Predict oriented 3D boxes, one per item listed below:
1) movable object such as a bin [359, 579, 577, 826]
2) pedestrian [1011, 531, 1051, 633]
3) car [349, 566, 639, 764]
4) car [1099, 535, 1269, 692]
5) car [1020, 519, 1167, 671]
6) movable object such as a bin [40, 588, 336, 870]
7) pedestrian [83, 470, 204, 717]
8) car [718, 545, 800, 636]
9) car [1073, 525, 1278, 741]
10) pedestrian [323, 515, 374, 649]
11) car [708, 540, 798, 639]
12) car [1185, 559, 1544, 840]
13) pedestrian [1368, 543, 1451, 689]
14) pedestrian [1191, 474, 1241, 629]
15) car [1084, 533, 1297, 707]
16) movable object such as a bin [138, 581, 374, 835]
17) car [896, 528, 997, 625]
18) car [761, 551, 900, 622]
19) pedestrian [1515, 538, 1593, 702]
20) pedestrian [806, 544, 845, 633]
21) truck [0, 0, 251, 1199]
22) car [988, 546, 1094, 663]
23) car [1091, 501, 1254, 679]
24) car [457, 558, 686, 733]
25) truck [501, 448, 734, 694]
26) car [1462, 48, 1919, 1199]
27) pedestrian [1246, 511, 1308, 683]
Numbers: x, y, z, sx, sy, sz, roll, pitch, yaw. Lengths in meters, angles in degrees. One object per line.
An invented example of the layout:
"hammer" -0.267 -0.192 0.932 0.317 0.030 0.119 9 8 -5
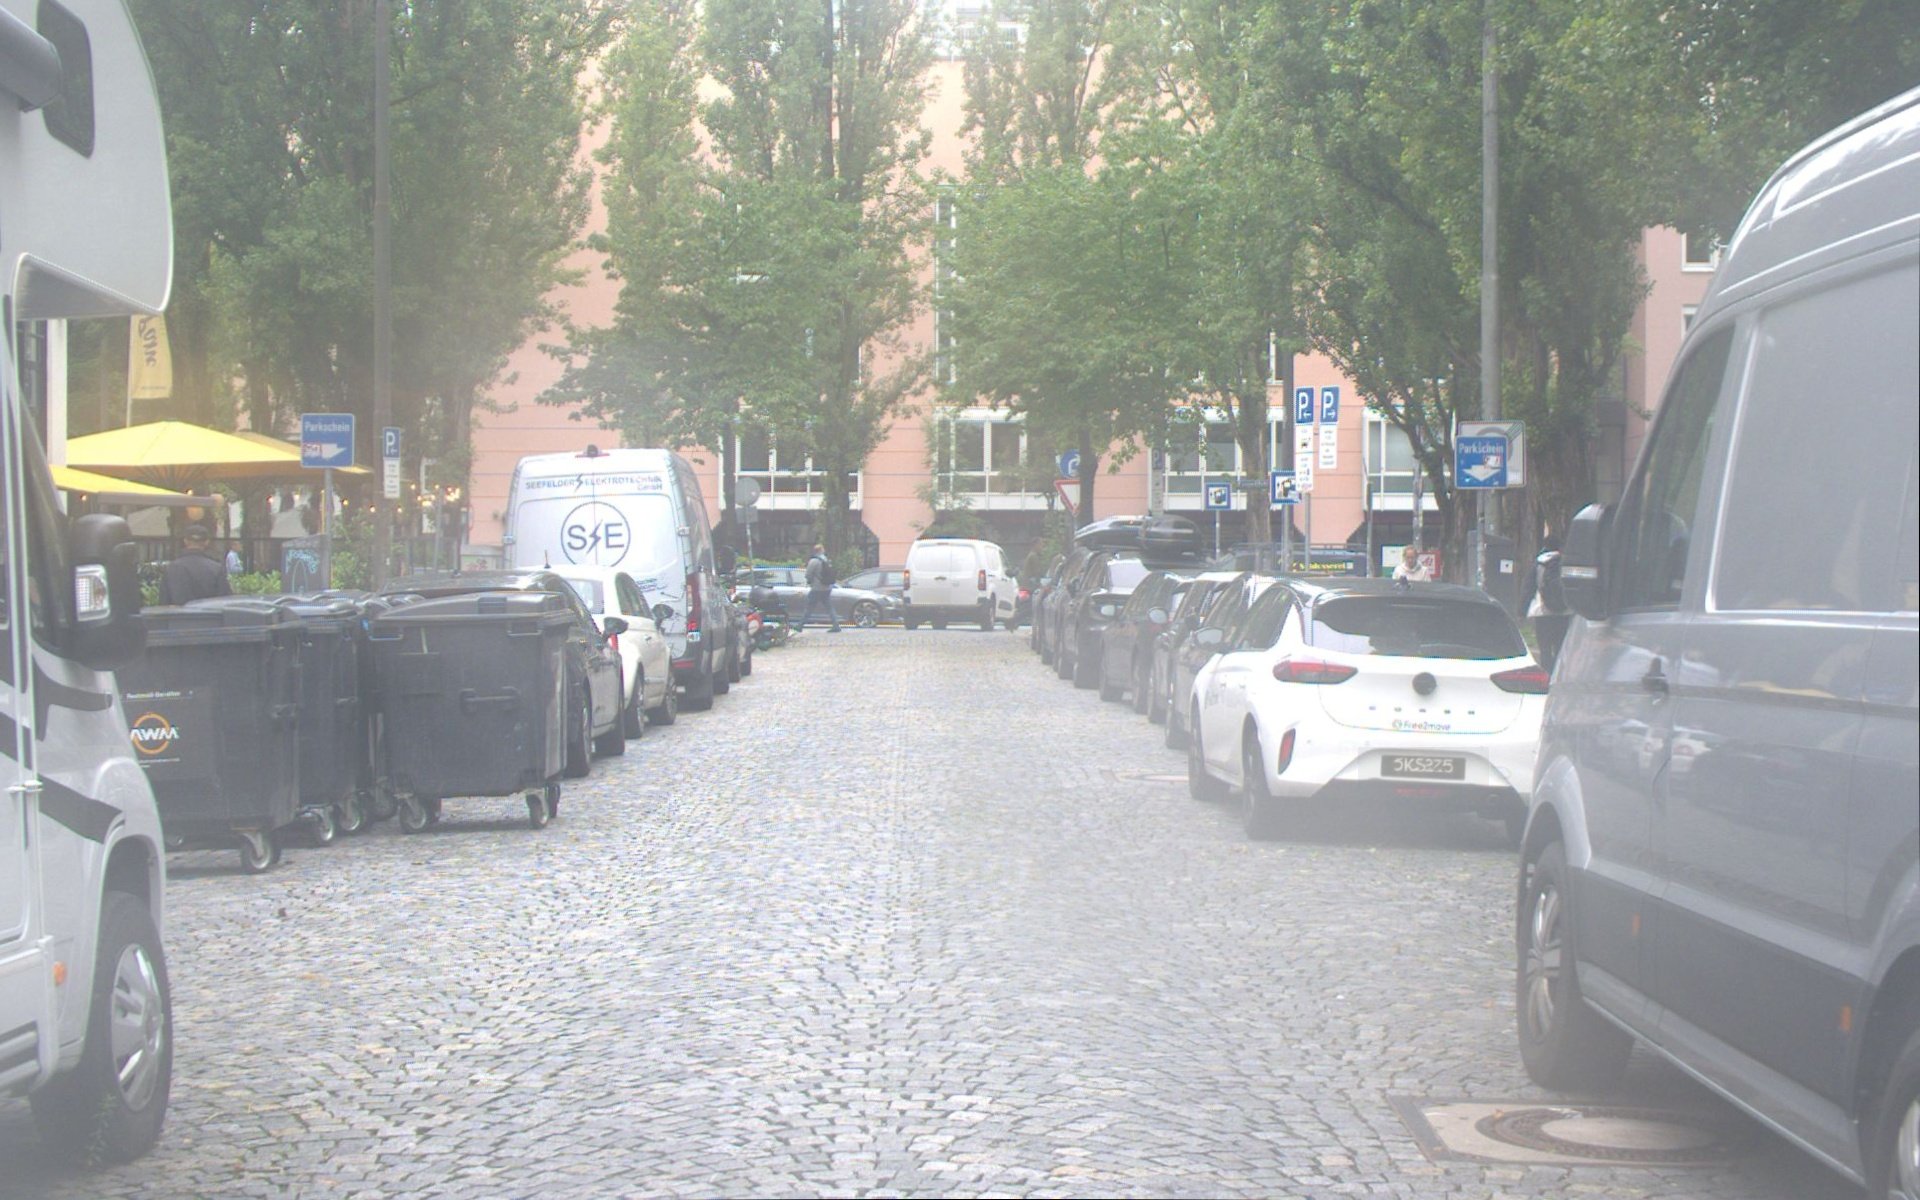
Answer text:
"movable object such as a bin" -2.799 0.567 19.705 1.064 1.359 1.289 1 0 -1
"pedestrian" 1.329 -0.334 64.246 0.725 1.904 0.641 1 0 1
"car" -3.320 0.432 25.063 1.662 1.325 3.548 1 0 -1
"car" 2.371 0.130 37.040 1.634 1.599 3.272 1 0 1
"car" 1.755 -0.069 46.410 1.868 1.954 4.000 0 0 1
"movable object such as a bin" -3.844 0.624 17.221 1.234 1.359 1.110 1 0 -1
"pedestrian" -6.769 -0.054 28.527 0.791 2.007 0.855 1 0 -1
"car" -3.481 -0.164 59.919 1.276 1.536 3.119 1 0 -1
"car" 1.763 0.257 28.841 1.470 1.700 3.119 1 0 -1
"pedestrian" -8.616 -0.254 48.448 0.603 1.871 0.548 1 0 -1
"car" -3.331 -0.175 55.614 1.290 1.534 3.119 1 0 -1
"car" 2.263 0.519 20.005 1.599 1.481 3.479 1 0 -1
"pedestrian" 5.354 0.191 40.957 0.791 1.714 0.856 1 0 -6
"pedestrian" 4.020 -0.757 54.061 0.711 2.417 0.813 1 0 1
"car" 2.177 0.176 33.230 1.868 1.599 3.272 0 0 1
"movable object such as a bin" -3.885 0.577 19.082 1.073 1.359 1.273 1 0 -2
"car" -0.243 -0.478 70.119 1.996 1.929 4.000 0 0 1
"car" -2.949 -0.318 78.610 3.108 1.584 1.475 1 0 0
"pedestrian" 6.574 0.217 38.063 0.711 1.798 0.813 1 0 1
"pedestrian" -2.575 -0.222 65.849 0.687 1.681 0.500 1 0 3
"truck" -3.099 -0.064 5.956 2.508 3.021 6.385 -2 1 -2
"car" 1.198 0.064 51.968 1.470 1.700 3.119 1 0 -1
"car" 2.501 -0.123 41.183 1.743 2.024 3.865 0 0 1
"car" -3.383 0.373 30.466 1.662 1.450 3.548 1 0 -1
"truck" -3.422 -0.289 35.064 1.993 2.338 4.068 1 0 -1
"car" 2.577 0.246 7.375 1.895 2.418 5.611 4 1 -1
"pedestrian" 4.061 -0.039 44.062 0.711 2.184 0.813 1 0 1
